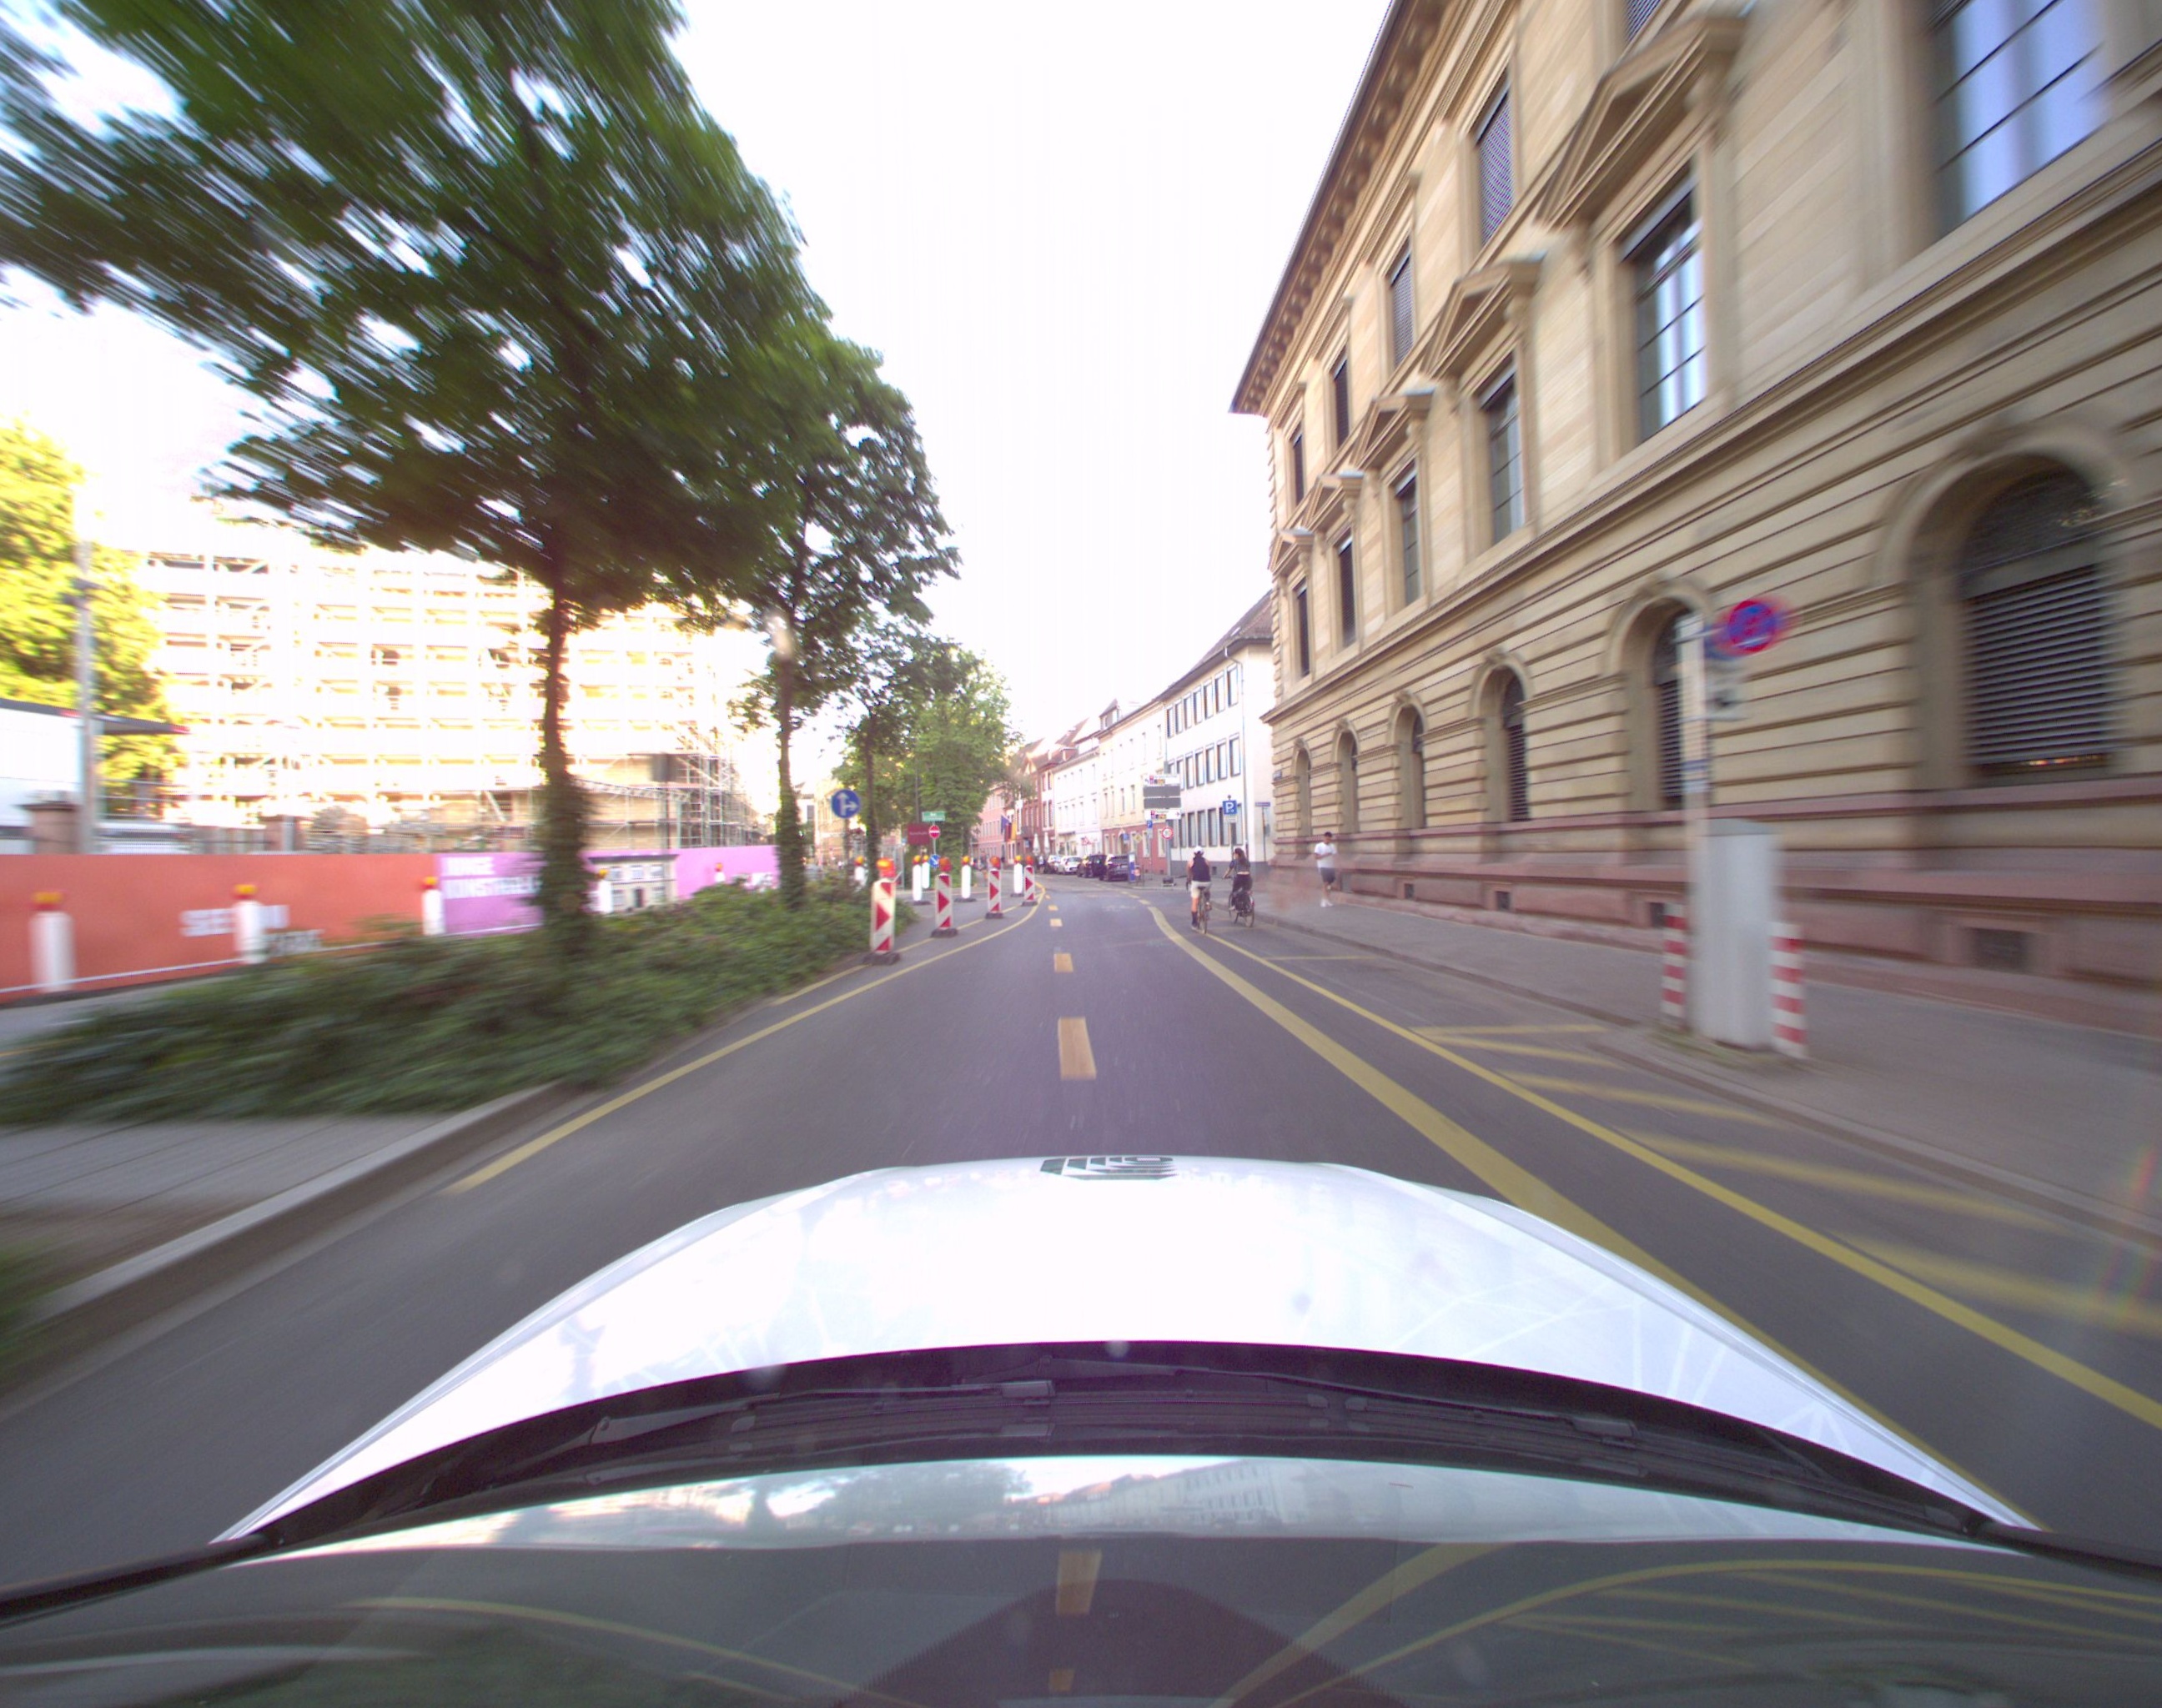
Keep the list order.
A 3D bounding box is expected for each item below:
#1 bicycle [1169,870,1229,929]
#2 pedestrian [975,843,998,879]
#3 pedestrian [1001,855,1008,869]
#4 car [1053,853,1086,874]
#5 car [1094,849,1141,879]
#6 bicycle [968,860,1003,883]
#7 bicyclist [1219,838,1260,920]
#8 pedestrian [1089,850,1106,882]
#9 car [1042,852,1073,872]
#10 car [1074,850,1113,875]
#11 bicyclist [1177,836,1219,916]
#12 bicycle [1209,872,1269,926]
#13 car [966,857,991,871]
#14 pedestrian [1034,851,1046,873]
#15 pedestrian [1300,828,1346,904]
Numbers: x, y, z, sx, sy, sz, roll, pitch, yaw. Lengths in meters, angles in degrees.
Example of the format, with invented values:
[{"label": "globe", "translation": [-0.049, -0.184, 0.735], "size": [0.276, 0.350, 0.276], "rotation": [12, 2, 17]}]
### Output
[{"label": "bicycle", "translation": [2.336, 0.880, 16.355], "size": [0.669, 1.071, 1.895], "rotation": [0, 0, -9]}, {"label": "pedestrian", "translation": [-4.581, 0.331, 39.529], "size": [0.729, 1.674, 0.900], "rotation": [-2, 0, 21]}, {"label": "pedestrian", "translation": [-9.806, 1.068, 104.296], "size": [0.751, 1.762, 0.582], "rotation": [-1, 0, -16]}, {"label": "car", "translation": [-0.947, 0.768, 64.682], "size": [1.815, 1.560, 3.846], "rotation": [-1, 0, -14]}, {"label": "car", "translation": [2.118, 0.599, 48.605], "size": [1.814, 1.682, 3.903], "rotation": [-1, 0, -12]}, {"label": "bicycle", "translation": [-4.617, 0.837, 39.413], "size": [0.754, 1.037, 2.131], "rotation": [-2, 0, 20]}, {"label": "bicyclist", "translation": [3.467, 0.527, 17.874], "size": [0.649, 1.760, 0.862], "rotation": [0, 0, -7]}, {"label": "pedestrian", "translation": [1.019, 0.716, 49.573], "size": [0.898, 1.866, 0.931], "rotation": [-1, 0, -4]}, {"label": "car", "translation": [-1.999, 0.657, 68.845], "size": [1.815, 1.560, 3.846], "rotation": [-1, 0, -14]}, {"label": "car", "translation": [0.818, 0.585, 56.750], "size": [1.814, 1.684, 3.983], "rotation": [-1, 0, -13]}, {"label": "bicyclist", "translation": [2.344, 0.441, 16.337], "size": [0.668, 1.566, 0.696], "rotation": [0, -1, -9]}, {"label": "bicycle", "translation": [3.457, 0.952, 18.011], "size": [0.652, 1.071, 2.253], "rotation": [0, 0, -6]}, {"label": "car", "translation": [-11.909, 1.130, 94.066], "size": [1.821, 1.560, 3.834], "rotation": [-1, 0, -24]}, {"label": "pedestrian", "translation": [-3.473, 0.709, 69.049], "size": [0.827, 1.844, 0.958], "rotation": [-1, 0, 2]}, {"label": "pedestrian", "translation": [5.762, 0.275, 19.439], "size": [0.813, 1.765, 1.038], "rotation": [-1, 0, 2]}]
